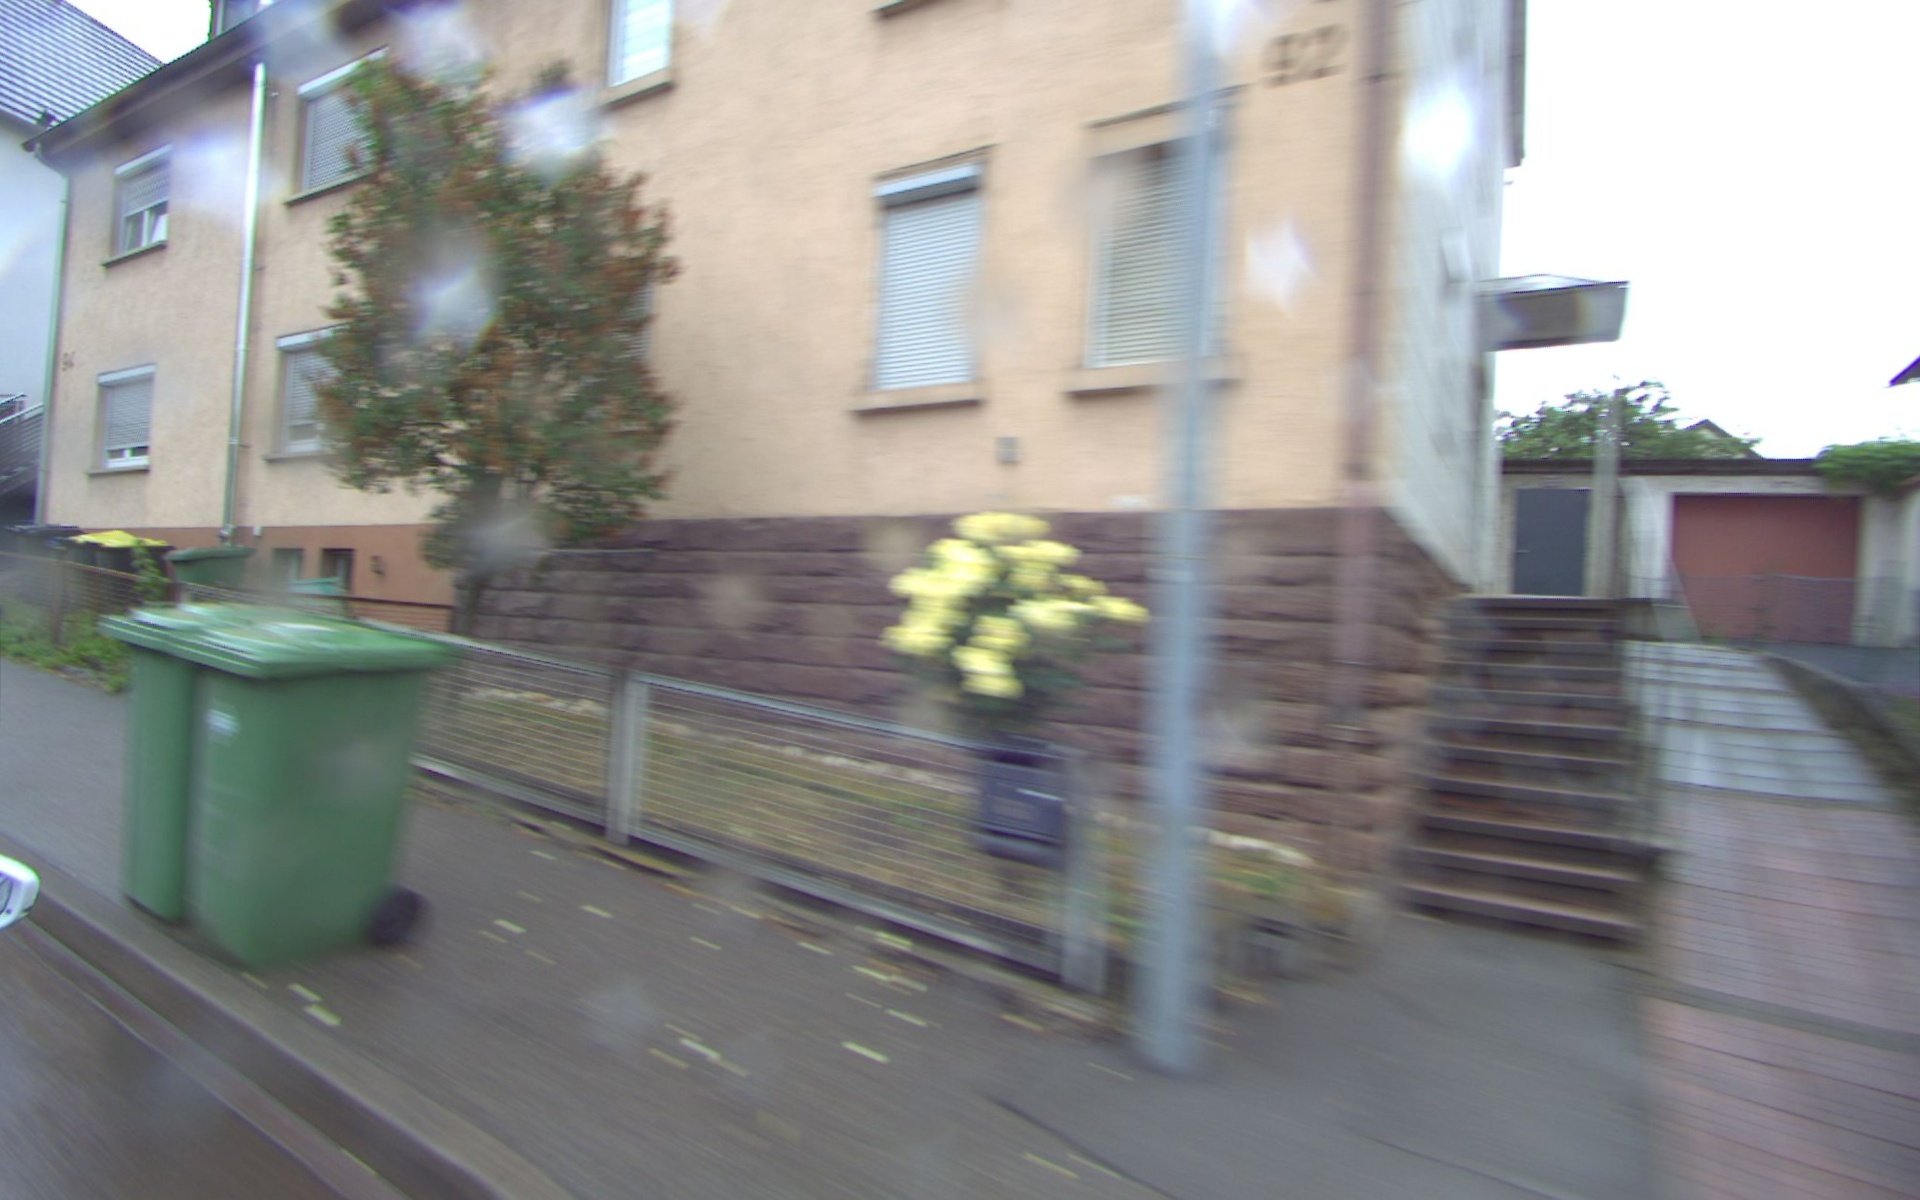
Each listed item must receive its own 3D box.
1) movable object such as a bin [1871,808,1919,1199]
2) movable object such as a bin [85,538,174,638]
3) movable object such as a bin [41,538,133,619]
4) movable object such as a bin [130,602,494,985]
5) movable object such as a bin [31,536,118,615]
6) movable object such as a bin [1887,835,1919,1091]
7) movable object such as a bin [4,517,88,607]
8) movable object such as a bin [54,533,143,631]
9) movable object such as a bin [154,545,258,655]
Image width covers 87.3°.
[{"bbox_3d":[3.006,1.194,2.572,0.778,1.091,0.610,6,3,29],"label":"movable object such as a bin"},{"bbox_3d":[-9.753,-0.142,11.823,0.536,1.108,0.644,6,4,30],"label":"movable object such as a bin"},{"bbox_3d":[-10.896,-0.258,12.559,0.527,0.906,0.670,7,-1,31],"label":"movable object such as a bin"},{"bbox_3d":[-2.228,0.601,3.480,0.787,1.064,0.720,6,-1,34],"label":"movable object such as a bin"},{"bbox_3d":[-11.351,-0.304,12.901,0.527,0.906,0.638,7,0,31],"label":"movable object such as a bin"},{"bbox_3d":[3.668,1.225,3.240,0.778,0.981,0.609,6,6,29],"label":"movable object such as a bin"},{"bbox_3d":[-11.906,-0.485,13.111,0.536,1.108,0.660,6,4,30],"label":"movable object such as a bin"},{"bbox_3d":[-10.344,-0.208,12.085,0.536,1.108,0.660,6,4,30],"label":"movable object such as a bin"},{"bbox_3d":[-8.114,0.000,10.827,0.645,1.108,0.660,6,3,30],"label":"movable object such as a bin"}]
